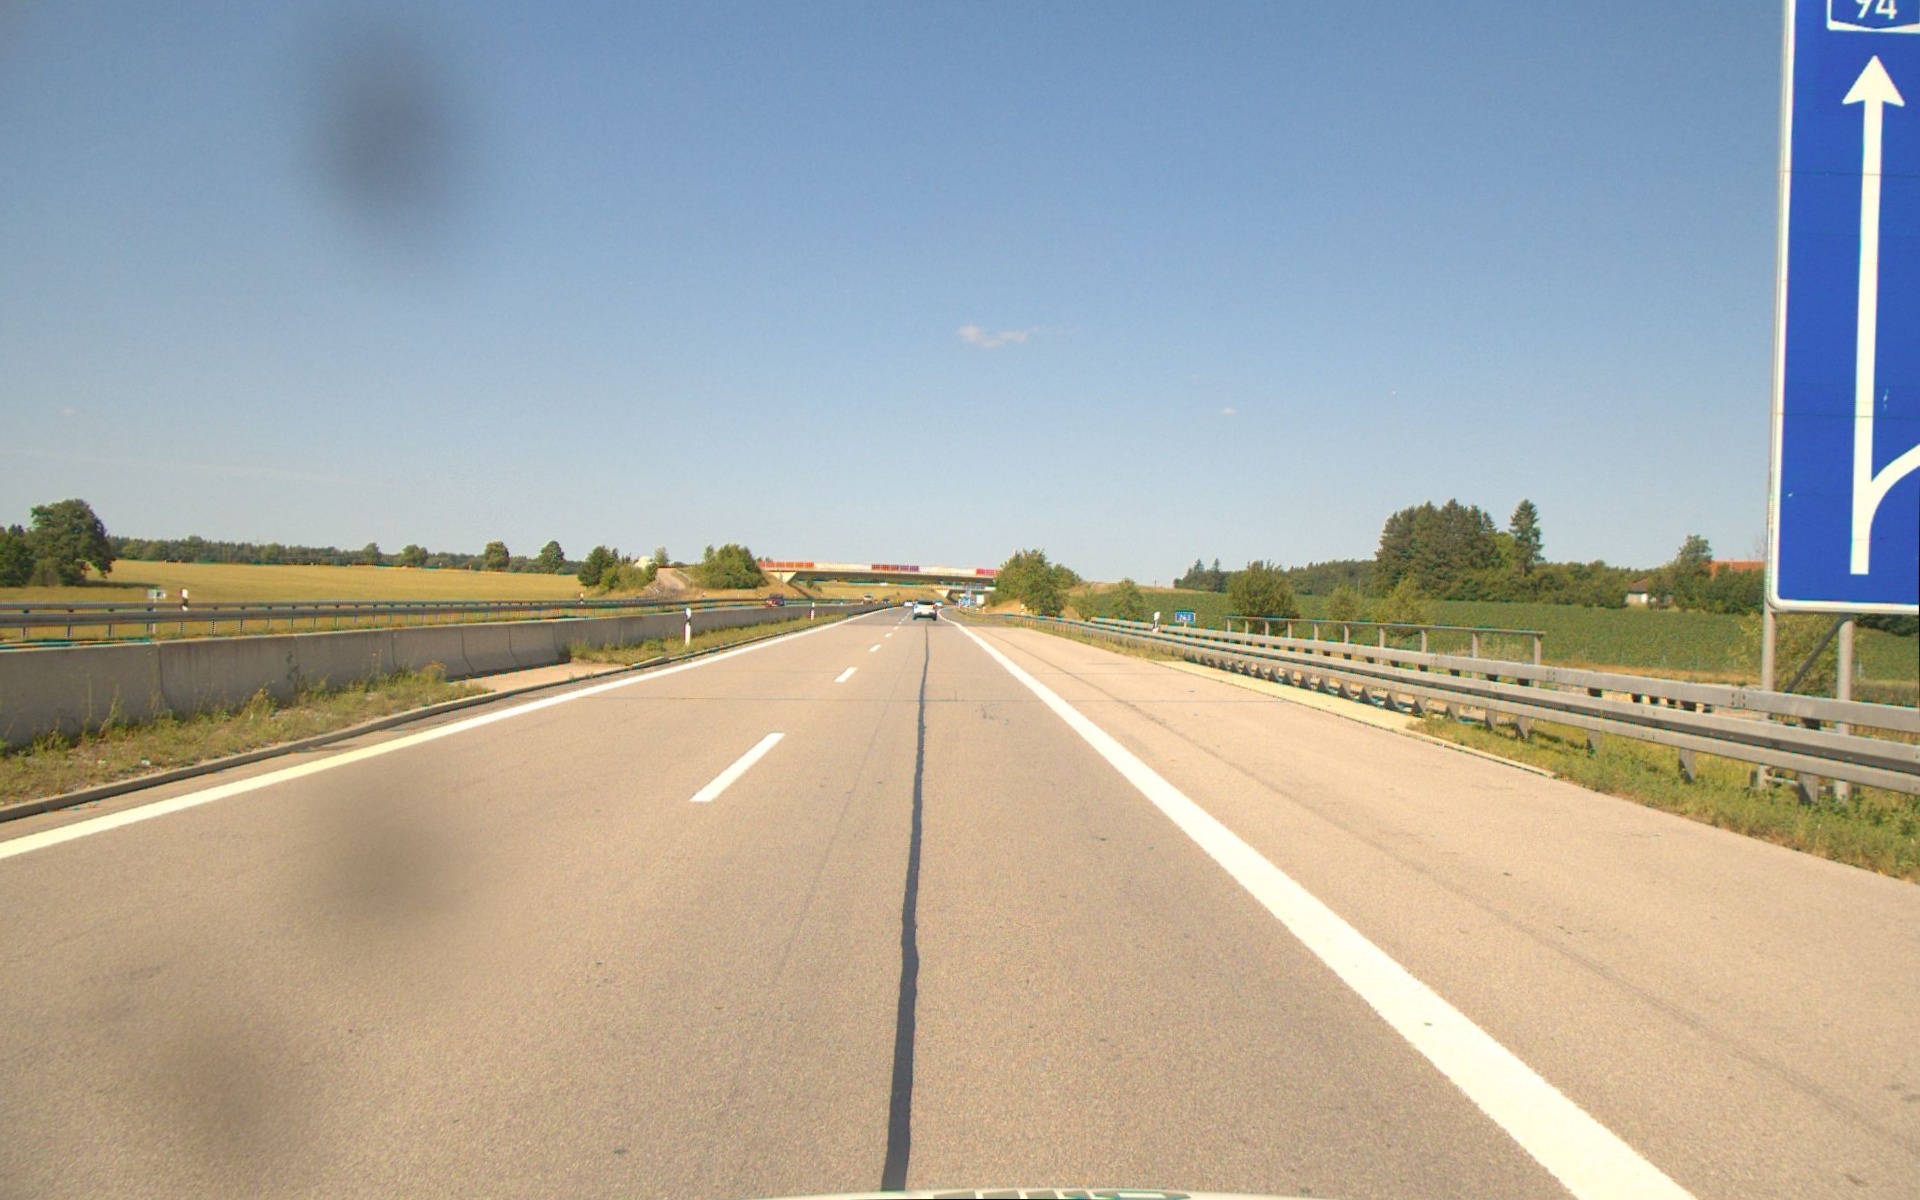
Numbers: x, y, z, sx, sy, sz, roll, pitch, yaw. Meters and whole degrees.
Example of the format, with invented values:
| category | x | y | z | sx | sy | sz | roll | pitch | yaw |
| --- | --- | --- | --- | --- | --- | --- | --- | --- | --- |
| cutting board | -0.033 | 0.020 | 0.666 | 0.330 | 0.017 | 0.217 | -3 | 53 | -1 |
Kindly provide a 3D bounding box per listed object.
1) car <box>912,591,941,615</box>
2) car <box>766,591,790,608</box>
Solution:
| category | x | y | z | sx | sy | sz | roll | pitch | yaw |
| --- | --- | --- | --- | --- | --- | --- | --- | --- | --- |
| car | -2.616 | 0.196 | 128.366 | 1.955 | 1.761 | 4.864 | 2 | 0 | -5 |
| car | -17.129 | -0.039 | 155.989 | 1.859 | 1.550 | 4.804 | -1 | 0 | -1 |
